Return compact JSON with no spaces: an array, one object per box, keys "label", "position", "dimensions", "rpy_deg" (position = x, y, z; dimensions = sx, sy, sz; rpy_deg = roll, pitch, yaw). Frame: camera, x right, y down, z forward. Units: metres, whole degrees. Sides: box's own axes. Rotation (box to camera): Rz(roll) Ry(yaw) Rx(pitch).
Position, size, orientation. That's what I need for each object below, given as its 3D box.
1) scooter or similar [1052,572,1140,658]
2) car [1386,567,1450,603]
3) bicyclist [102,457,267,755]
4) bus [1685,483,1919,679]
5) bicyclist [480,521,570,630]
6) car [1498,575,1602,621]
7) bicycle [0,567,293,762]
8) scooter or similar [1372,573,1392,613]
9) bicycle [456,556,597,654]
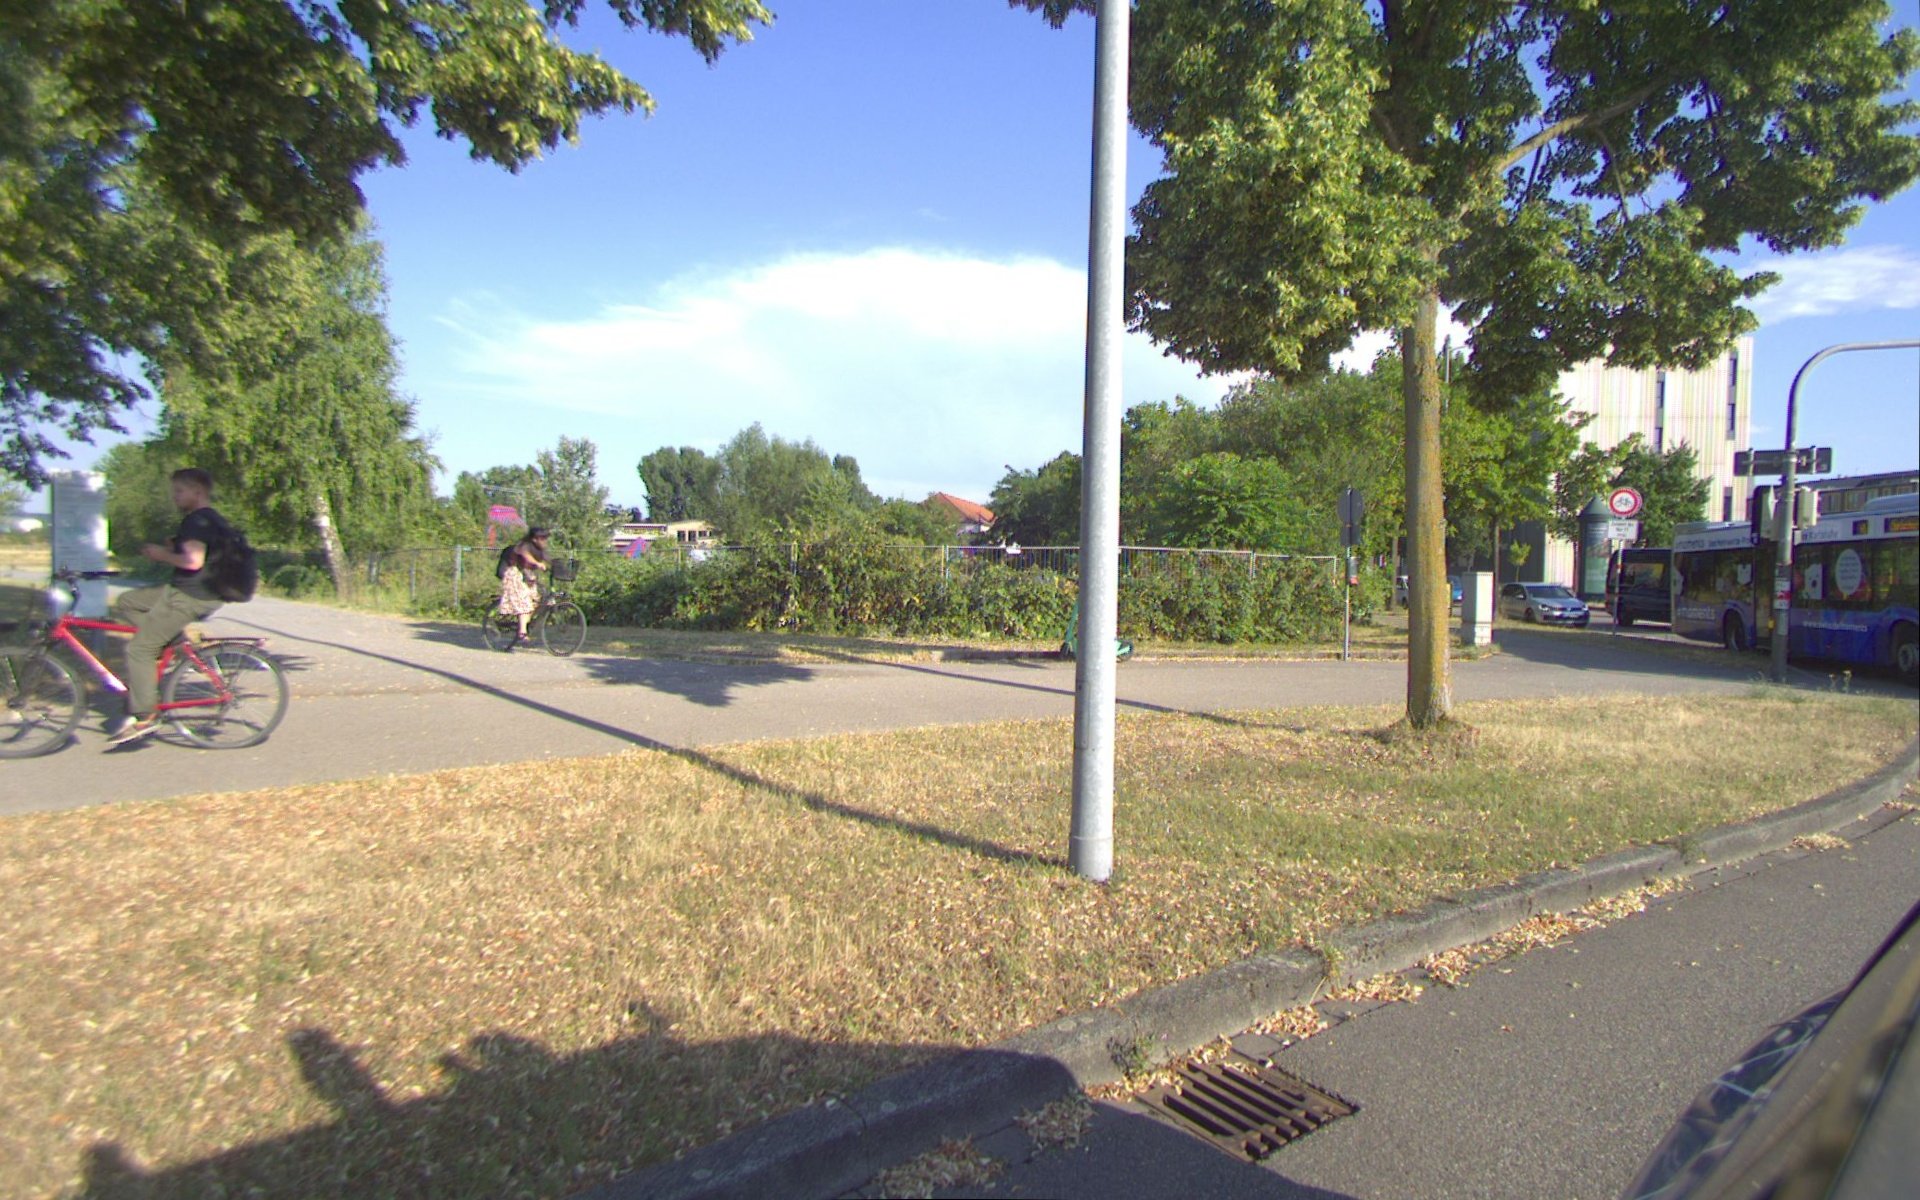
[{"label":"scooter or similar","position":[1.907,0.203,14.193],"dimensions":[1.146,1.174,0.343],"rpy_deg":[0,2,-13]},{"label":"car","position":[21.316,-0.718,47.249],"dimensions":[1.557,1.581,3.624],"rpy_deg":[1,2,4]},{"label":"bicyclist","position":[-5.145,0.028,6.763],"dimensions":[0.814,1.852,0.621],"rpy_deg":[1,2,-33]},{"label":"bus","position":[17.143,-0.393,18.472],"dimensions":[2.560,3.080,11.663],"rpy_deg":[0,2,16]},{"label":"bicyclist","position":[-5.676,-0.331,13.218],"dimensions":[0.967,1.379,0.556],"rpy_deg":[1,2,19]},{"label":"car","position":[19.946,-0.119,34.384],"dimensions":[1.557,1.441,3.624],"rpy_deg":[1,2,4]},{"label":"bicycle","position":[-5.461,0.386,6.580],"dimensions":[1.853,1.172,0.417],"rpy_deg":[0,2,-30]},{"label":"scooter or similar","position":[12.568,-0.215,30.179],"dimensions":[0.245,1.140,1.092],"rpy_deg":[3,2,10]},{"label":"bicycle","position":[-5.619,0.045,13.091],"dimensions":[1.805,1.170,0.489],"rpy_deg":[3,2,19]}]
